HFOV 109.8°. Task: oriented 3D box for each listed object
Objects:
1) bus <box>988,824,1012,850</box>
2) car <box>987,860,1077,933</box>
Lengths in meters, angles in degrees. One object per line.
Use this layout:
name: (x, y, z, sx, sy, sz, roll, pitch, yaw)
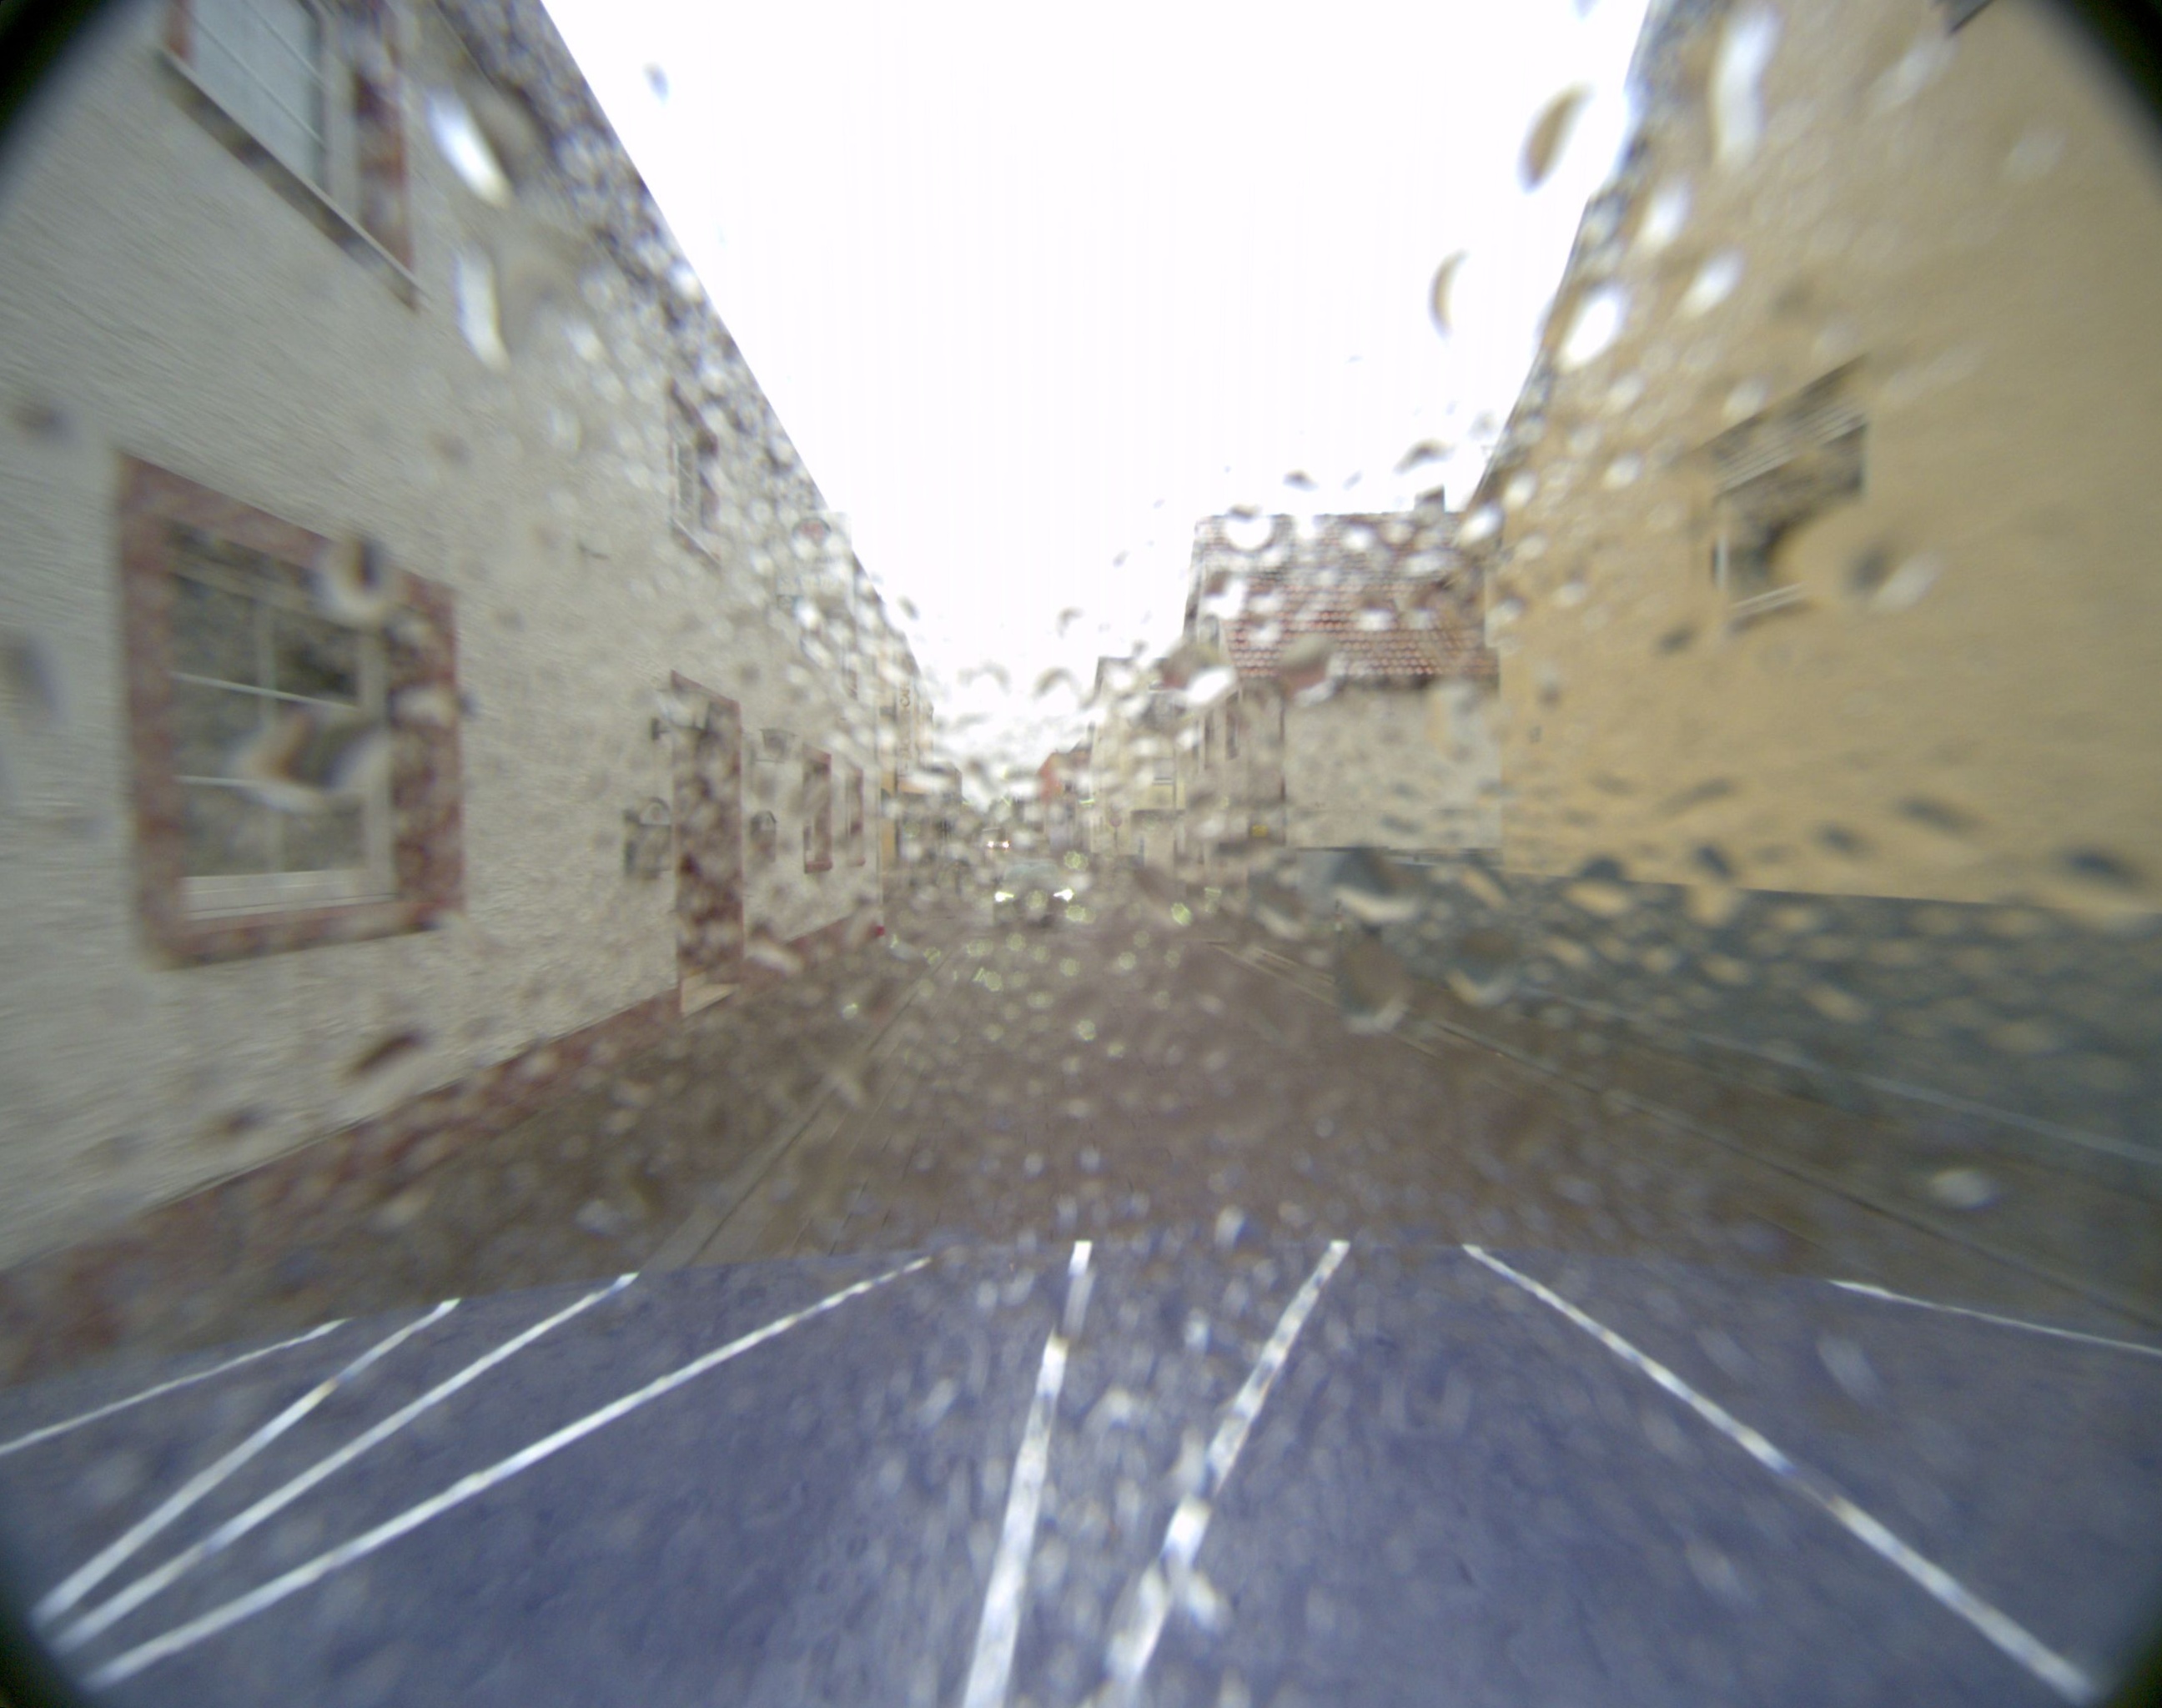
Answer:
bus: (-12.039, -2.570, 111.586, 2.894, 3.590, 11.966, -1, 2, -9)
car: (-1.084, 0.901, 17.606, 1.801, 1.342, 3.736, -3, 1, -2)
